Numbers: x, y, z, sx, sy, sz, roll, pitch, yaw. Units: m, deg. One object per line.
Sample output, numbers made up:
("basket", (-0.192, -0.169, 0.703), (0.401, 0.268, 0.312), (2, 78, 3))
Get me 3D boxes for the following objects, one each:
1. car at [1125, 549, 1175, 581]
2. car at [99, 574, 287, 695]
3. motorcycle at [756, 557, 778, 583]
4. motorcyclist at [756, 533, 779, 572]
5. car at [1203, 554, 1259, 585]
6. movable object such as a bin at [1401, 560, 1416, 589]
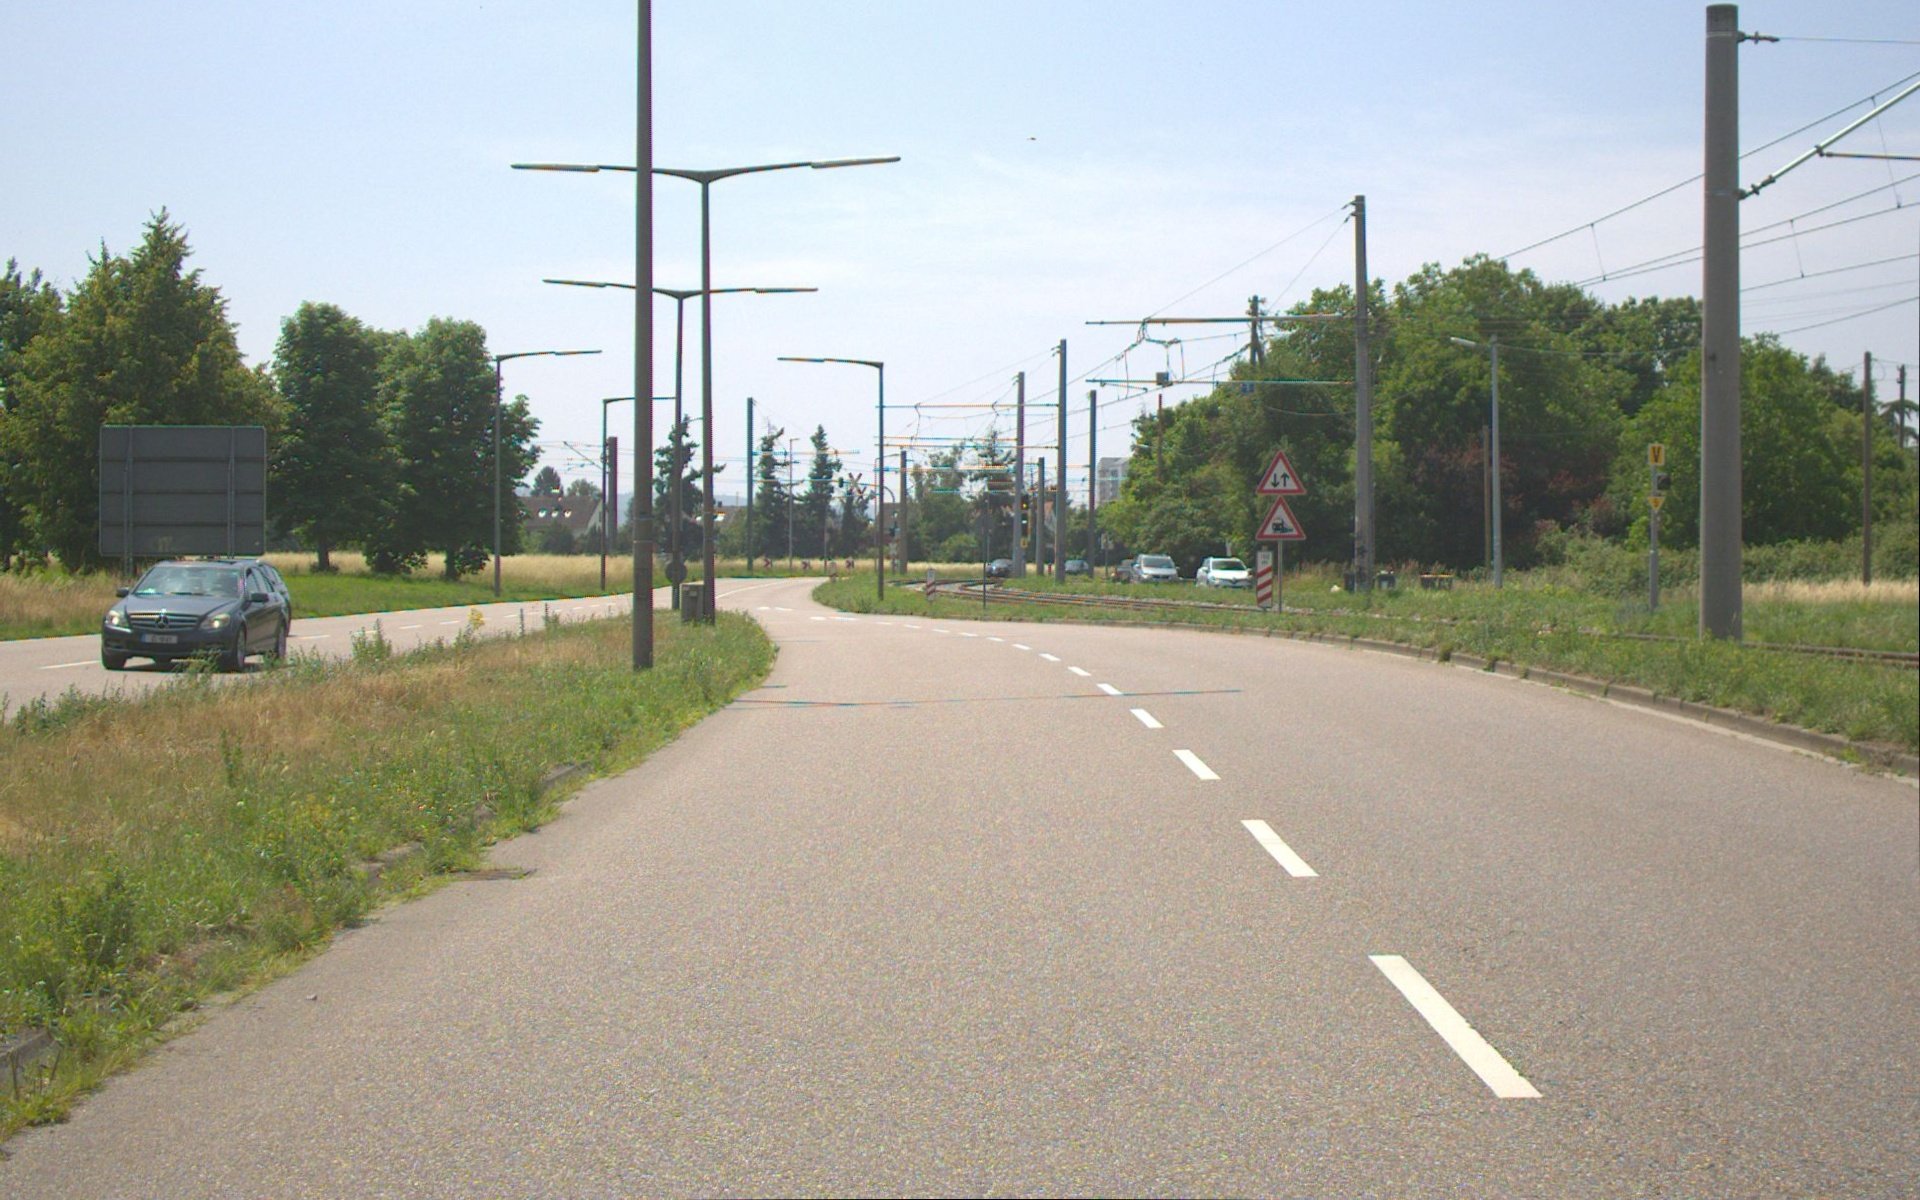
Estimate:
("car", (8.586, -1.567, 155.709), (1.671, 1.392, 3.651), (2, 0, -5))
("car", (-10.100, 0.418, 45.519), (1.692, 1.486, 4.000), (0, 1, -2))
("motorcycle", (-11.797, -1.822, 209.903), (0.989, 1.575, 3.400), (2, 0, 2))
("motorcyclist", (-11.728, -2.895, 209.940), (1.231, 2.343, 1.106), (2, 0, 2))
("car", (10.400, -1.170, 132.143), (1.562, 1.175, 3.080), (0, 1, -7))
("movable object such as a bin", (16.472, -0.946, 126.219), (0.525, 1.046, 0.499), (0, 1, 6))
